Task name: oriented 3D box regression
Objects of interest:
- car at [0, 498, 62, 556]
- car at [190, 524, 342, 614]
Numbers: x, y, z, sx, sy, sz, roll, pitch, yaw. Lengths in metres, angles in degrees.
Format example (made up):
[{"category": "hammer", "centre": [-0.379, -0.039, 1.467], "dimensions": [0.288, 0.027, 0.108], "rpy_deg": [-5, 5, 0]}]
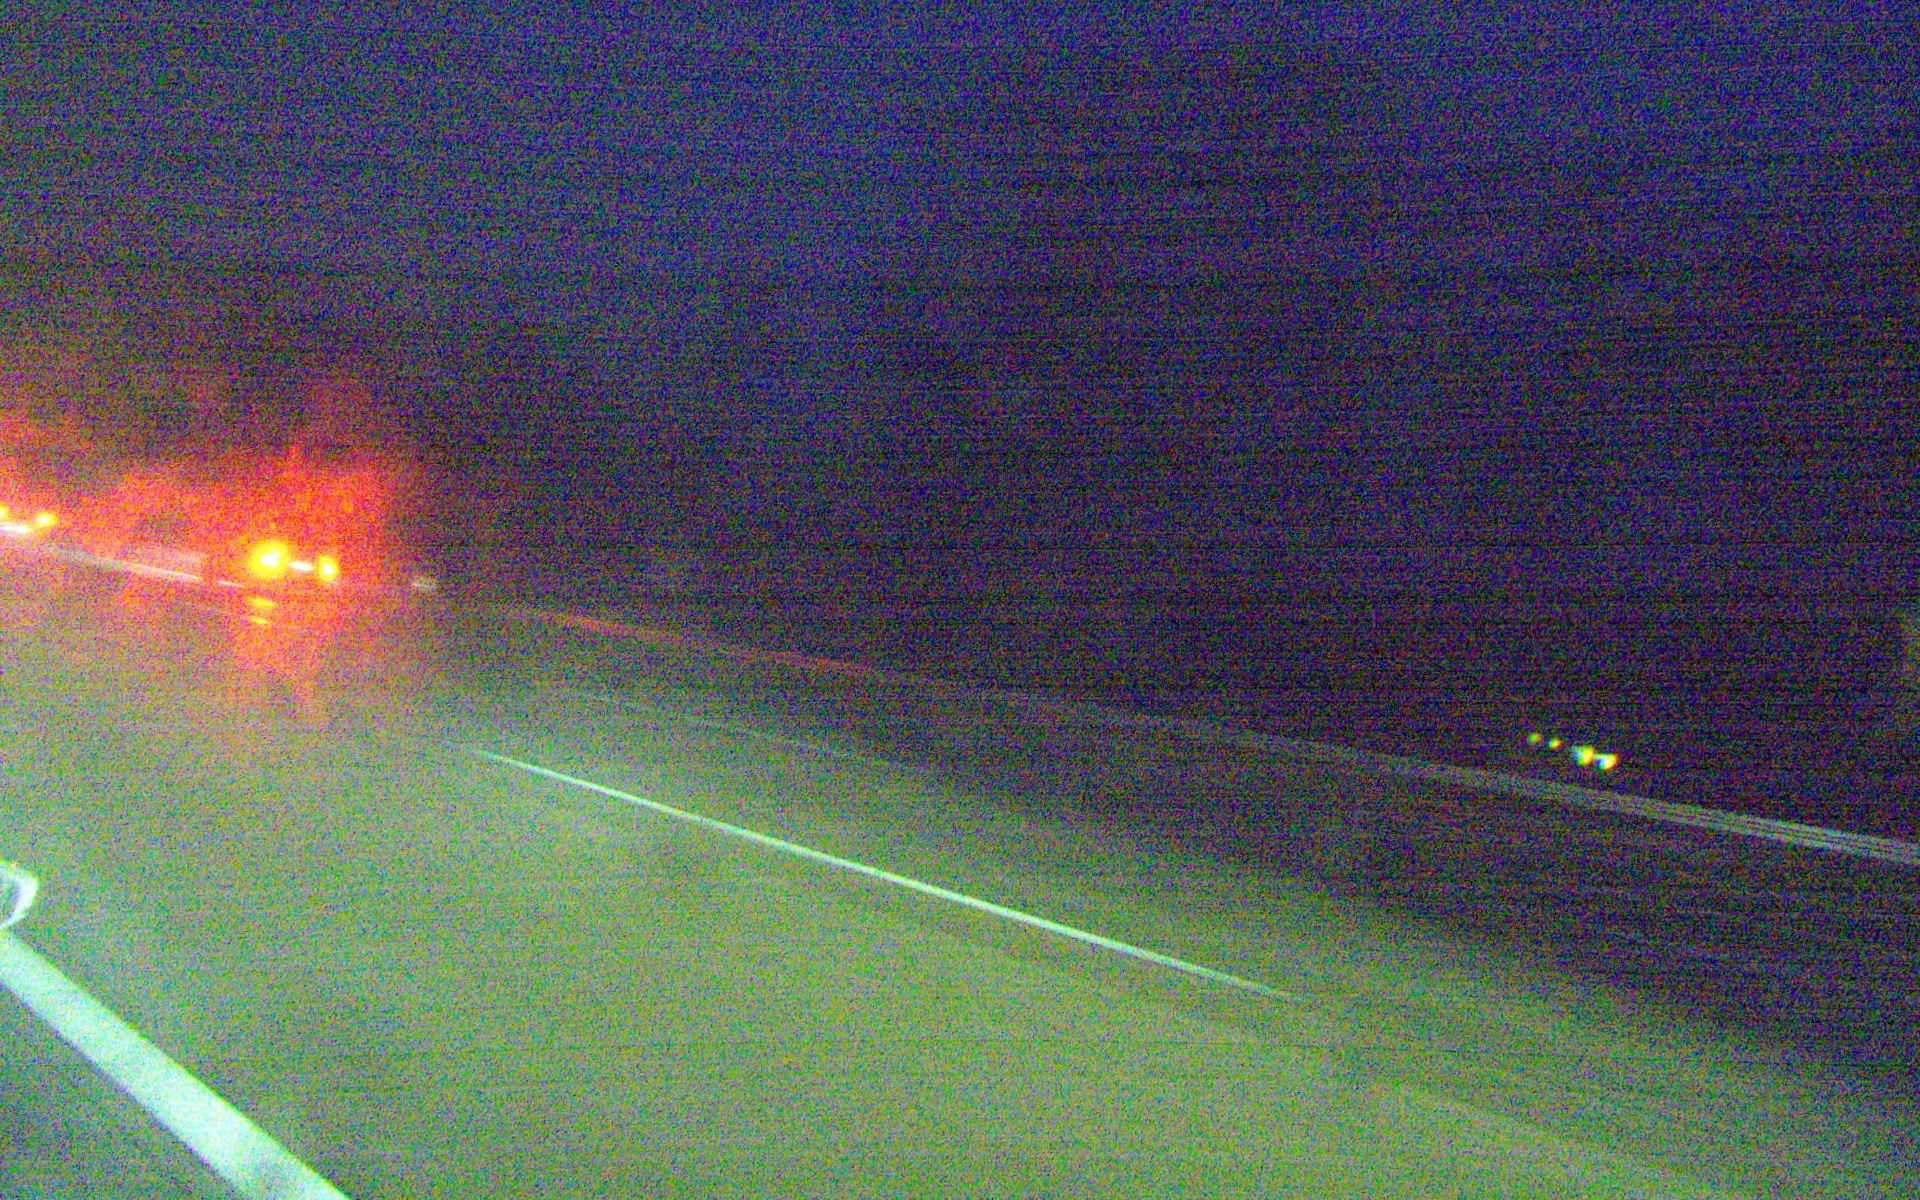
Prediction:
[{"category": "car", "centre": [-40.489, -3.231, 42.989], "dimensions": [3.939, 2.036, 2.235], "rpy_deg": [7, -3, 37]}, {"category": "car", "centre": [-21.395, -0.997, 30.918], "dimensions": [5.365, 2.036, 2.065], "rpy_deg": [7, -3, 37]}]
